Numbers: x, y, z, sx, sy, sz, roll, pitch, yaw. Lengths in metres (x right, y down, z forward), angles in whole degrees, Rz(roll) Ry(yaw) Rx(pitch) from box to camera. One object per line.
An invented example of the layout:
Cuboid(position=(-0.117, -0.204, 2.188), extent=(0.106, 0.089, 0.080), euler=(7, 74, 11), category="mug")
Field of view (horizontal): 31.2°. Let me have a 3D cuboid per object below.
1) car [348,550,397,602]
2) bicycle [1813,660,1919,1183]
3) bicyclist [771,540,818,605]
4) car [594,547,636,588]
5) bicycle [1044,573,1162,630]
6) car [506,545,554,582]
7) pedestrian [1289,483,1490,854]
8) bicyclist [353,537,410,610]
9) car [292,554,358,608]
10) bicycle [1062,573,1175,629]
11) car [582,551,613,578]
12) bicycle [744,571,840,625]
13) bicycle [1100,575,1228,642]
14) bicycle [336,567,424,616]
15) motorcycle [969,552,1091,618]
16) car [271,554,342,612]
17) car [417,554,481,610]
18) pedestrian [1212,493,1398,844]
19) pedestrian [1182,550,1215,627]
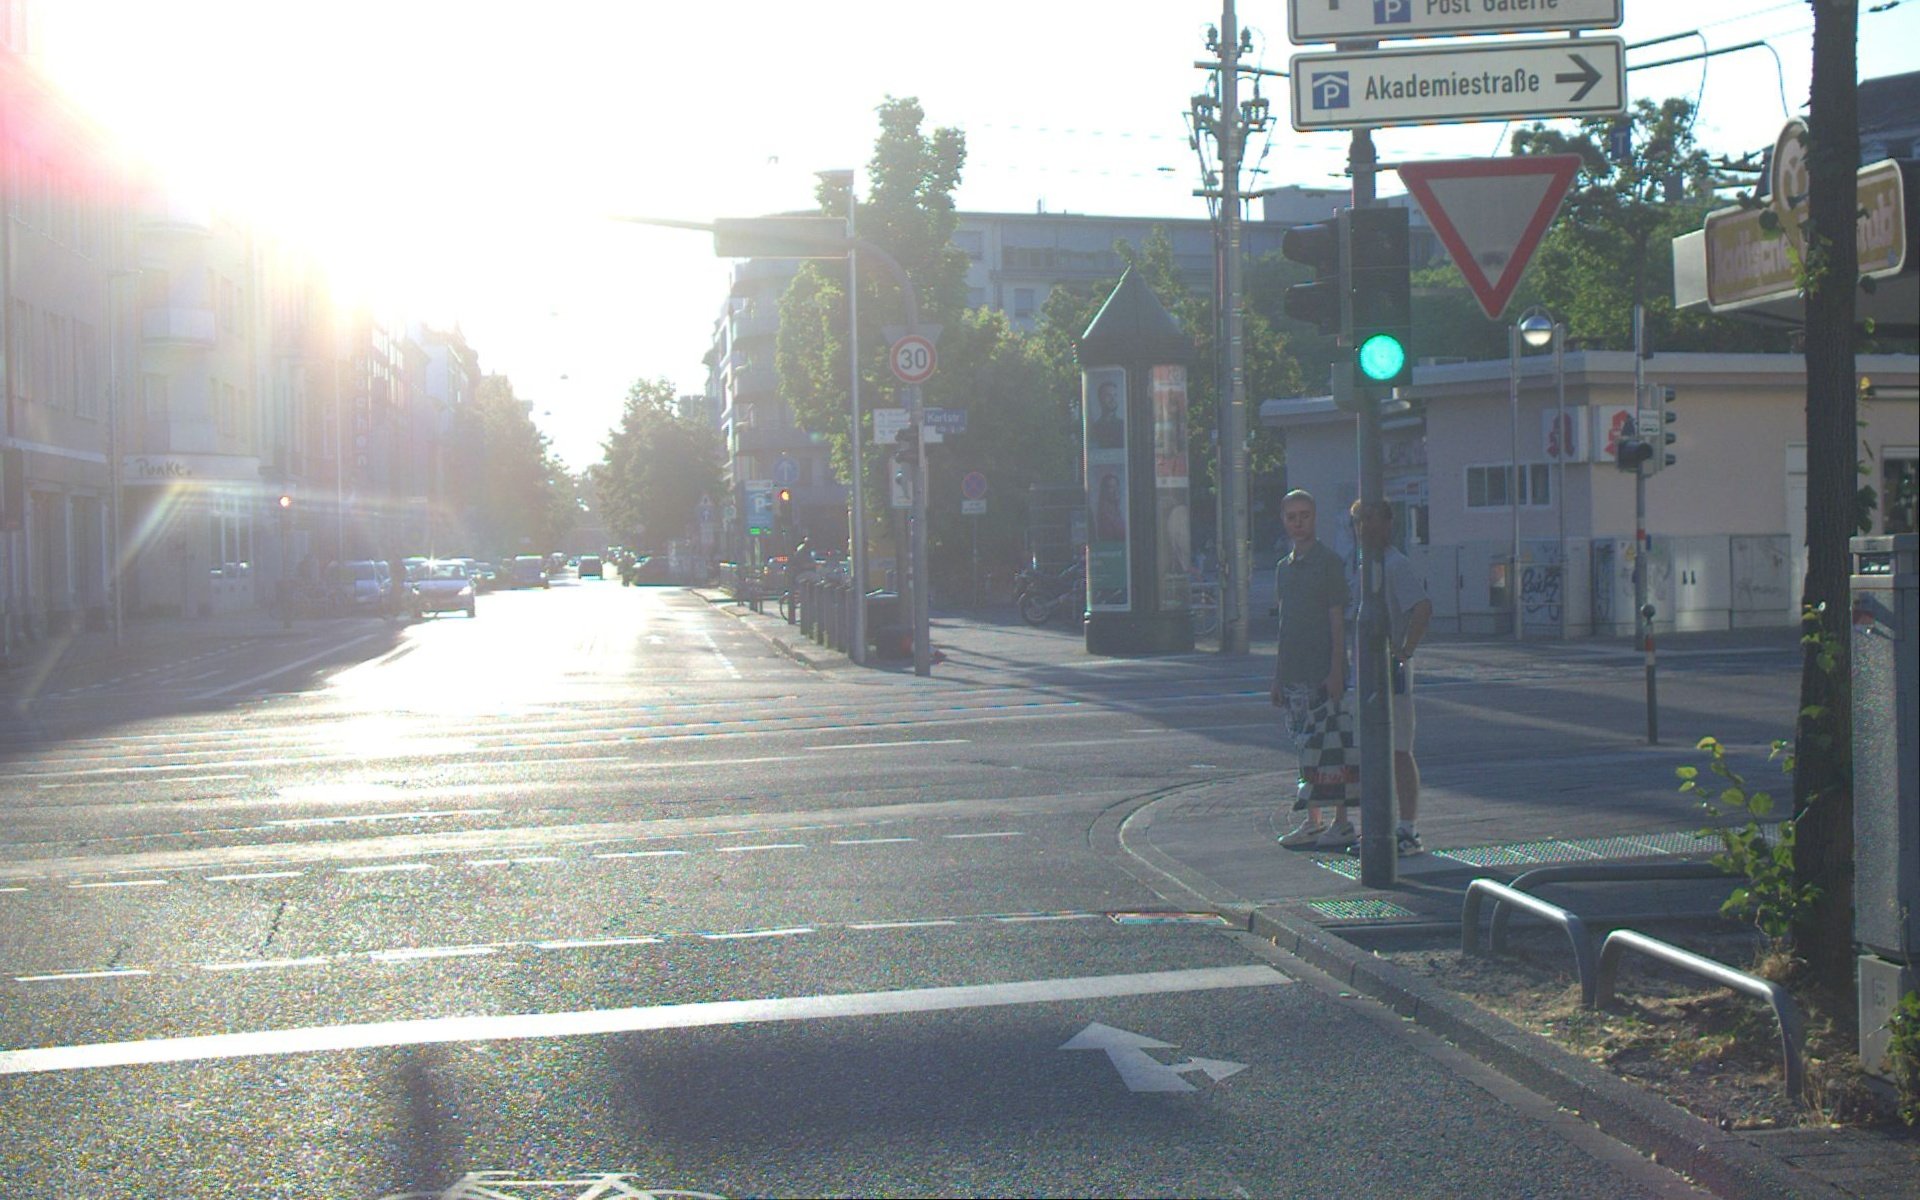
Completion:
Cuboid(position=(-18.222, -0.737, 106.655), extent=(1.306, 1.577, 2.889), euler=(0, 0, -6), category="car")
Cuboid(position=(2.948, 0.742, 8.342), extent=(1.656, 1.190, 0.477), euler=(-1, 1, -11), category="bicycle")
Cuboid(position=(-3.799, -0.626, 78.840), extent=(0.899, 1.476, 0.734), euler=(1, 0, 12), category="bicyclist")
Cuboid(position=(-17.675, -1.661, 176.241), extent=(1.993, 2.007, 4.001), euler=(1, 0, -4), category="car")
Cuboid(position=(2.543, 0.025, 61.139), extent=(2.078, 0.979, 0.560), euler=(-1, 0, 3), category="bicycle")
Cuboid(position=(-20.441, -1.752, 163.536), extent=(1.993, 1.678, 4.001), euler=(-1, 1, -4), category="car")
Cuboid(position=(2.109, 0.323, 16.919), extent=(0.637, 1.767, 0.750), euler=(-2, 1, -26), category="pedestrian")
Cuboid(position=(-14.251, -0.658, 84.708), extent=(1.130, 1.784, 0.764), euler=(1, 0, 16), category="bicyclist")
Cuboid(position=(-17.525, -0.520, 94.980), extent=(1.544, 1.464, 3.352), euler=(0, 0, -6), category="car")
Cuboid(position=(2.887, 0.018, 62.667), extent=(2.038, 0.973, 0.560), euler=(-1, 0, 3), category="bicycle")
Cuboid(position=(-25.822, -2.531, 244.708), extent=(1.993, 1.810, 4.000), euler=(2, 0, -4), category="car")
Cuboid(position=(-3.849, -0.046, 78.856), extent=(2.119, 1.200, 0.500), euler=(1, 0, 12), category="bicycle")
Cuboid(position=(3.278, 0.133, 55.335), extent=(2.020, 1.041, 0.560), euler=(-1, 0, 3), category="bicycle")
Cuboid(position=(-14.290, -0.210, 84.707), extent=(2.119, 1.200, 0.500), euler=(1, 0, 15), category="bicycle")
Cuboid(position=(1.304, -0.284, 64.151), extent=(2.234, 1.197, 0.720), euler=(-1, 1, 0), category="motorcycle")
Cuboid(position=(-17.345, -0.467, 91.337), extent=(1.544, 1.478, 3.353), euler=(-1, 1, -6), category="car")
Cuboid(position=(-13.502, -0.470, 91.013), extent=(1.544, 1.463, 3.352), euler=(0, 0, -6), category="car")
Cuboid(position=(1.779, 0.340, 17.772), extent=(0.585, 1.767, 0.749), euler=(-1, 1, -36), category="pedestrian")
Cuboid(position=(5.179, -0.256, 74.577), extent=(0.681, 1.651, 0.696), euler=(1, 0, 2), category="pedestrian")
